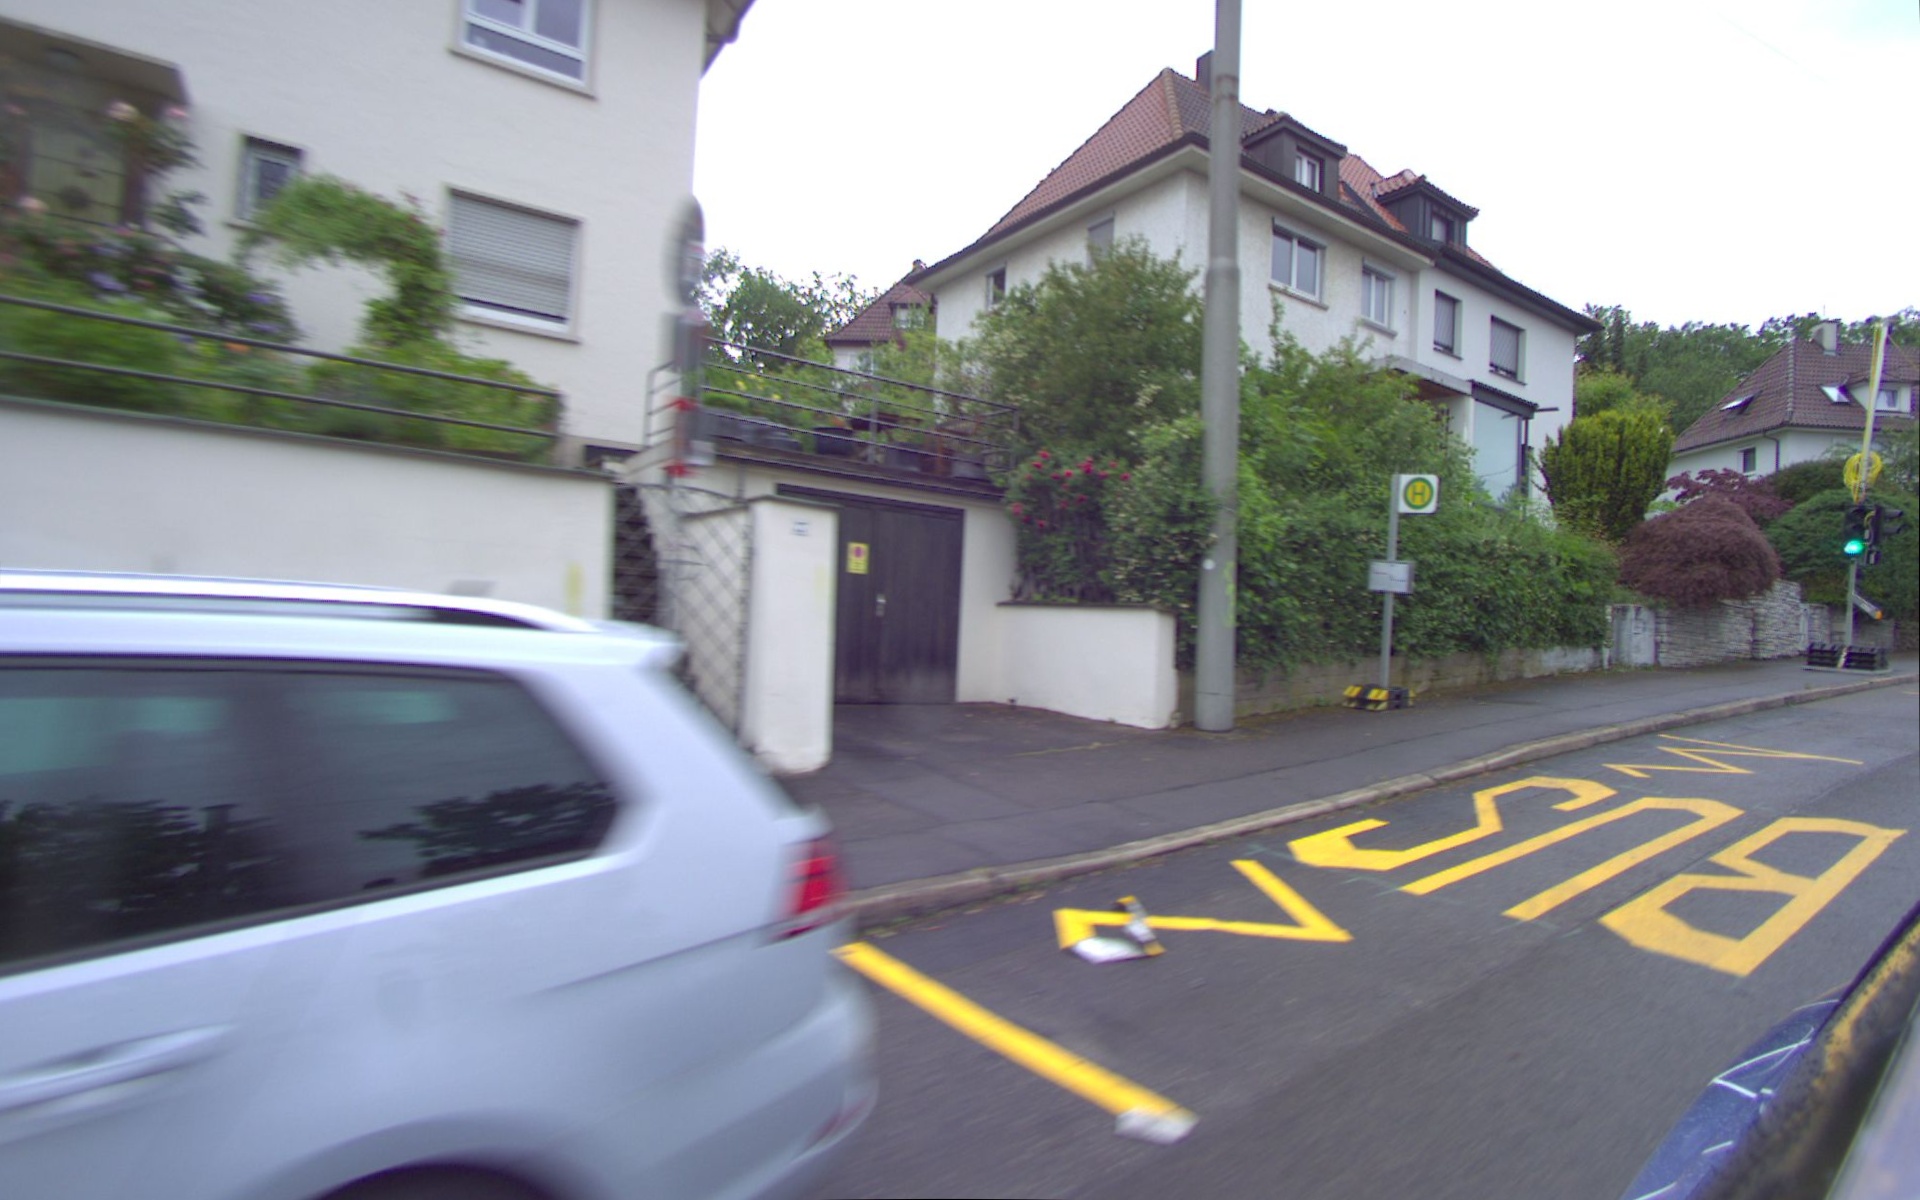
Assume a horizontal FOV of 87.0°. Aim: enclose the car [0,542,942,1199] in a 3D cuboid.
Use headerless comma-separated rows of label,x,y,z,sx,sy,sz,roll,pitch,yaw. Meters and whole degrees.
car,-2.275,0.640,1.219,4.351,1.438,1.785,0,1,-39
